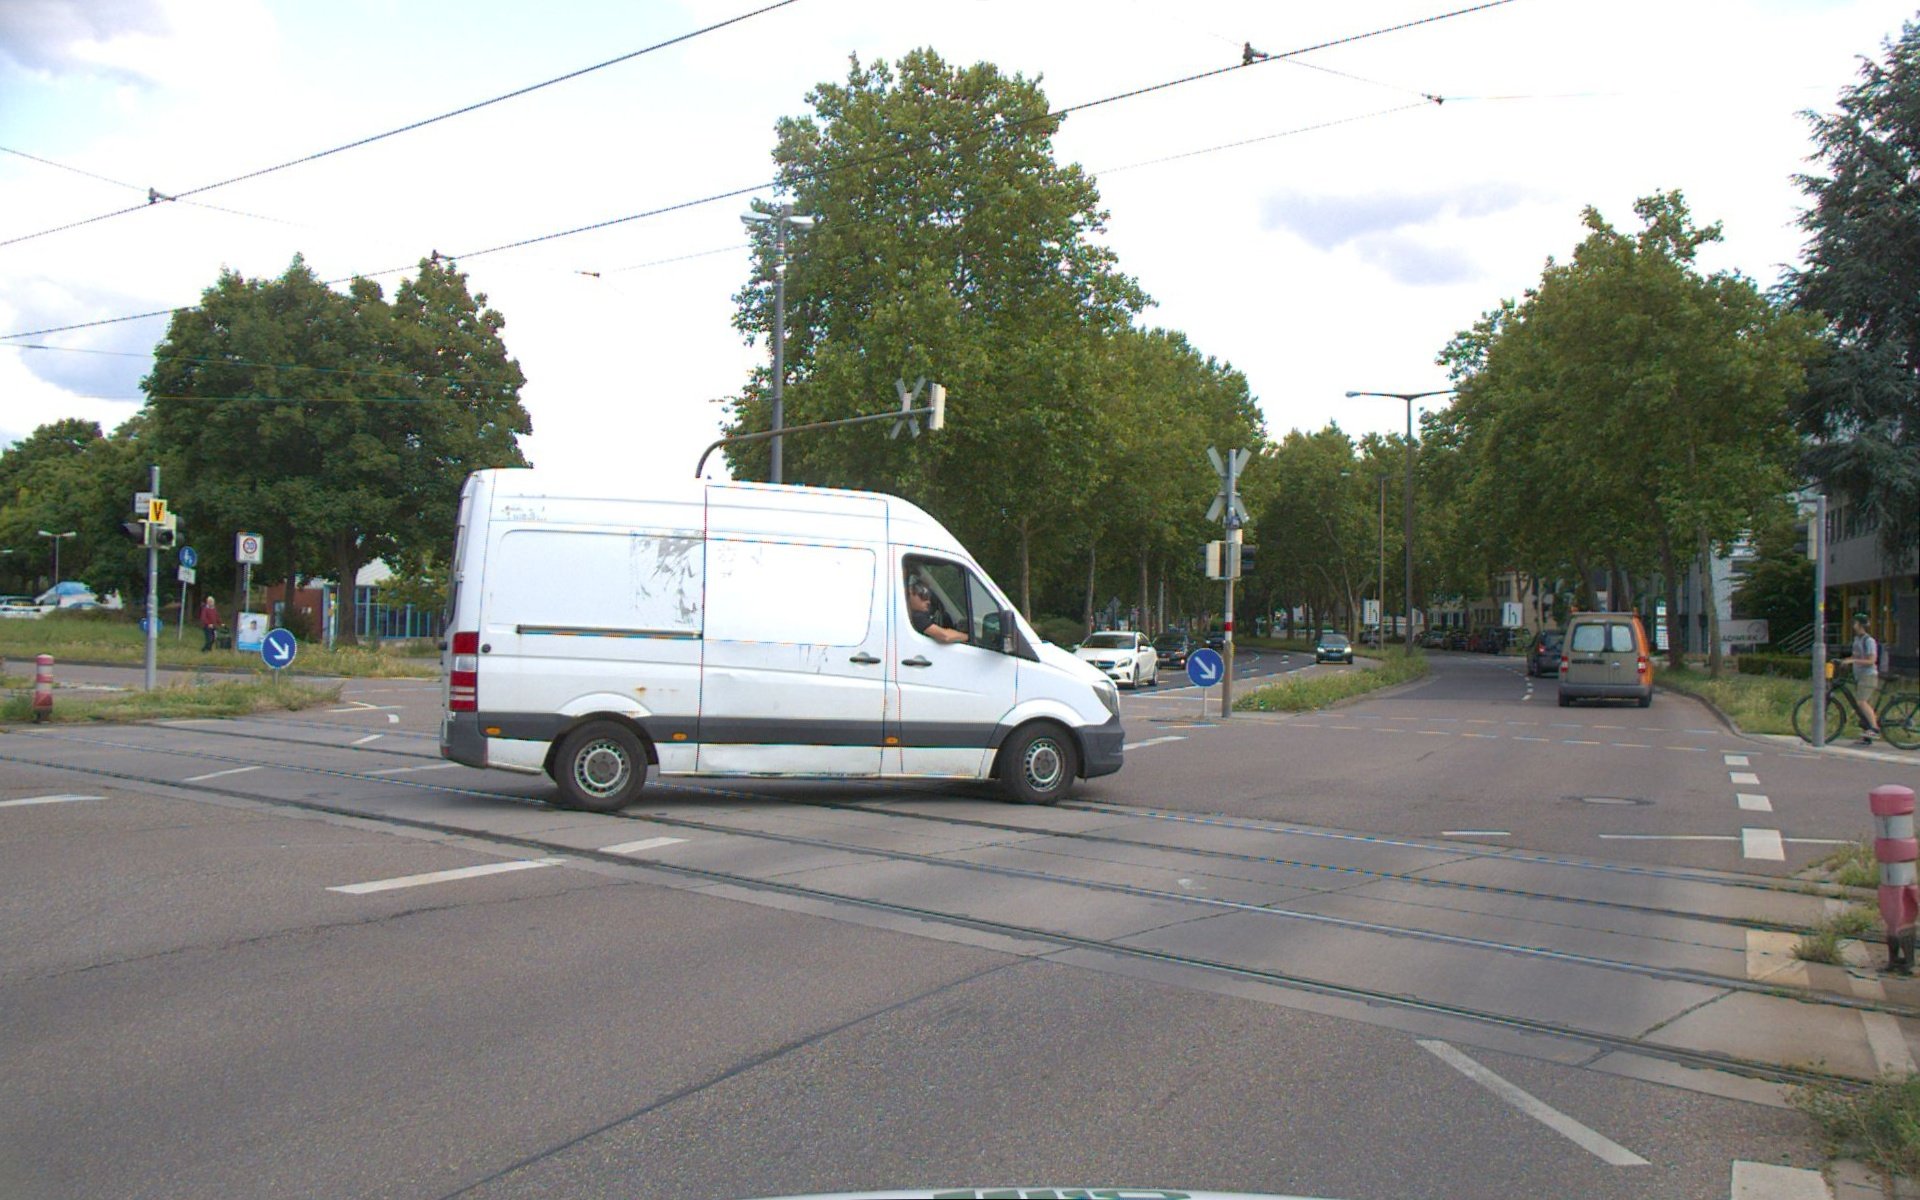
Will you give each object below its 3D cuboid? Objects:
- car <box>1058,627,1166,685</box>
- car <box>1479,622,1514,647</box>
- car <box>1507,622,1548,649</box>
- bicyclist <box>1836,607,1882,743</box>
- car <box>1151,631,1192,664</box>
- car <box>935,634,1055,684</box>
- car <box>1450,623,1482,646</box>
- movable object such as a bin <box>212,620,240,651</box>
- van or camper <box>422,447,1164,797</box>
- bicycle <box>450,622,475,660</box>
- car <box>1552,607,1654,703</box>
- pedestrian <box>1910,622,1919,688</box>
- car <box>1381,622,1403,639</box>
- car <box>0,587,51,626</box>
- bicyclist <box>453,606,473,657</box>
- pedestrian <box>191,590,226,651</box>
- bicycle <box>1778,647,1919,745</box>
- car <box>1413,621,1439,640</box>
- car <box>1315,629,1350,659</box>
[{"bbox_3d":[3.985,1.416,42.727,1.787,1.388,4.138,1,-1,20],"label":"car"},{"bbox_3d":[39.371,2.513,121.494,1.951,1.601,4.004,0,1,10],"label":"car"},{"bbox_3d":[37.559,2.357,109.538,1.951,1.601,4.004,0,1,10],"label":"car"},{"bbox_3d":[12.522,1.033,23.038,0.533,1.841,0.540,1,1,31],"label":"bicyclist"},{"bbox_3d":[8.639,1.914,67.373,1.600,1.212,3.711,1,-1,8],"label":"car"},{"bbox_3d":[0.952,1.508,43.284,1.604,1.212,3.702,1,-1,29],"label":"car"},{"bbox_3d":[39.732,2.723,129.973,1.951,1.601,4.004,0,1,10],"label":"car"},{"bbox_3d":[-20.409,0.975,45.969,0.448,0.825,0.579,0,1,14],"label":"movable object such as a bin"},{"bbox_3d":[-1.392,0.241,14.001,5.923,2.569,1.972,1,-1,-18],"label":"van or camper"},{"bbox_3d":[-15.619,1.279,51.923,0.553,1.150,1.369,1,-1,-25],"label":"bicycle"},{"bbox_3d":[13.367,1.099,34.392,1.839,1.831,4.370,1,-1,22],"label":"car"},{"bbox_3d":[23.969,1.363,41.016,0.608,1.597,0.559,0,1,22],"label":"pedestrian"},{"bbox_3d":[44.365,3.125,169.903,1.951,1.601,4.004,0,1,10],"label":"car"},{"bbox_3d":[-42.447,0.284,74.587,1.978,1.669,4.334,2,-1,-36],"label":"car"},{"bbox_3d":[-15.606,0.986,51.897,0.479,1.581,0.552,3,-2,-25],"label":"bicyclist"},{"bbox_3d":[-20.934,0.568,46.092,0.622,1.673,0.613,0,1,14],"label":"pedestrian"},{"bbox_3d":[12.500,1.324,23.060,1.910,1.257,0.540,1,1,32],"label":"bicycle"},{"bbox_3d":[44.036,2.882,156.344,1.951,1.601,4.004,0,1,10],"label":"car"},{"bbox_3d":[18.334,2.145,81.479,1.621,1.293,3.775,0,1,11],"label":"car"}]
